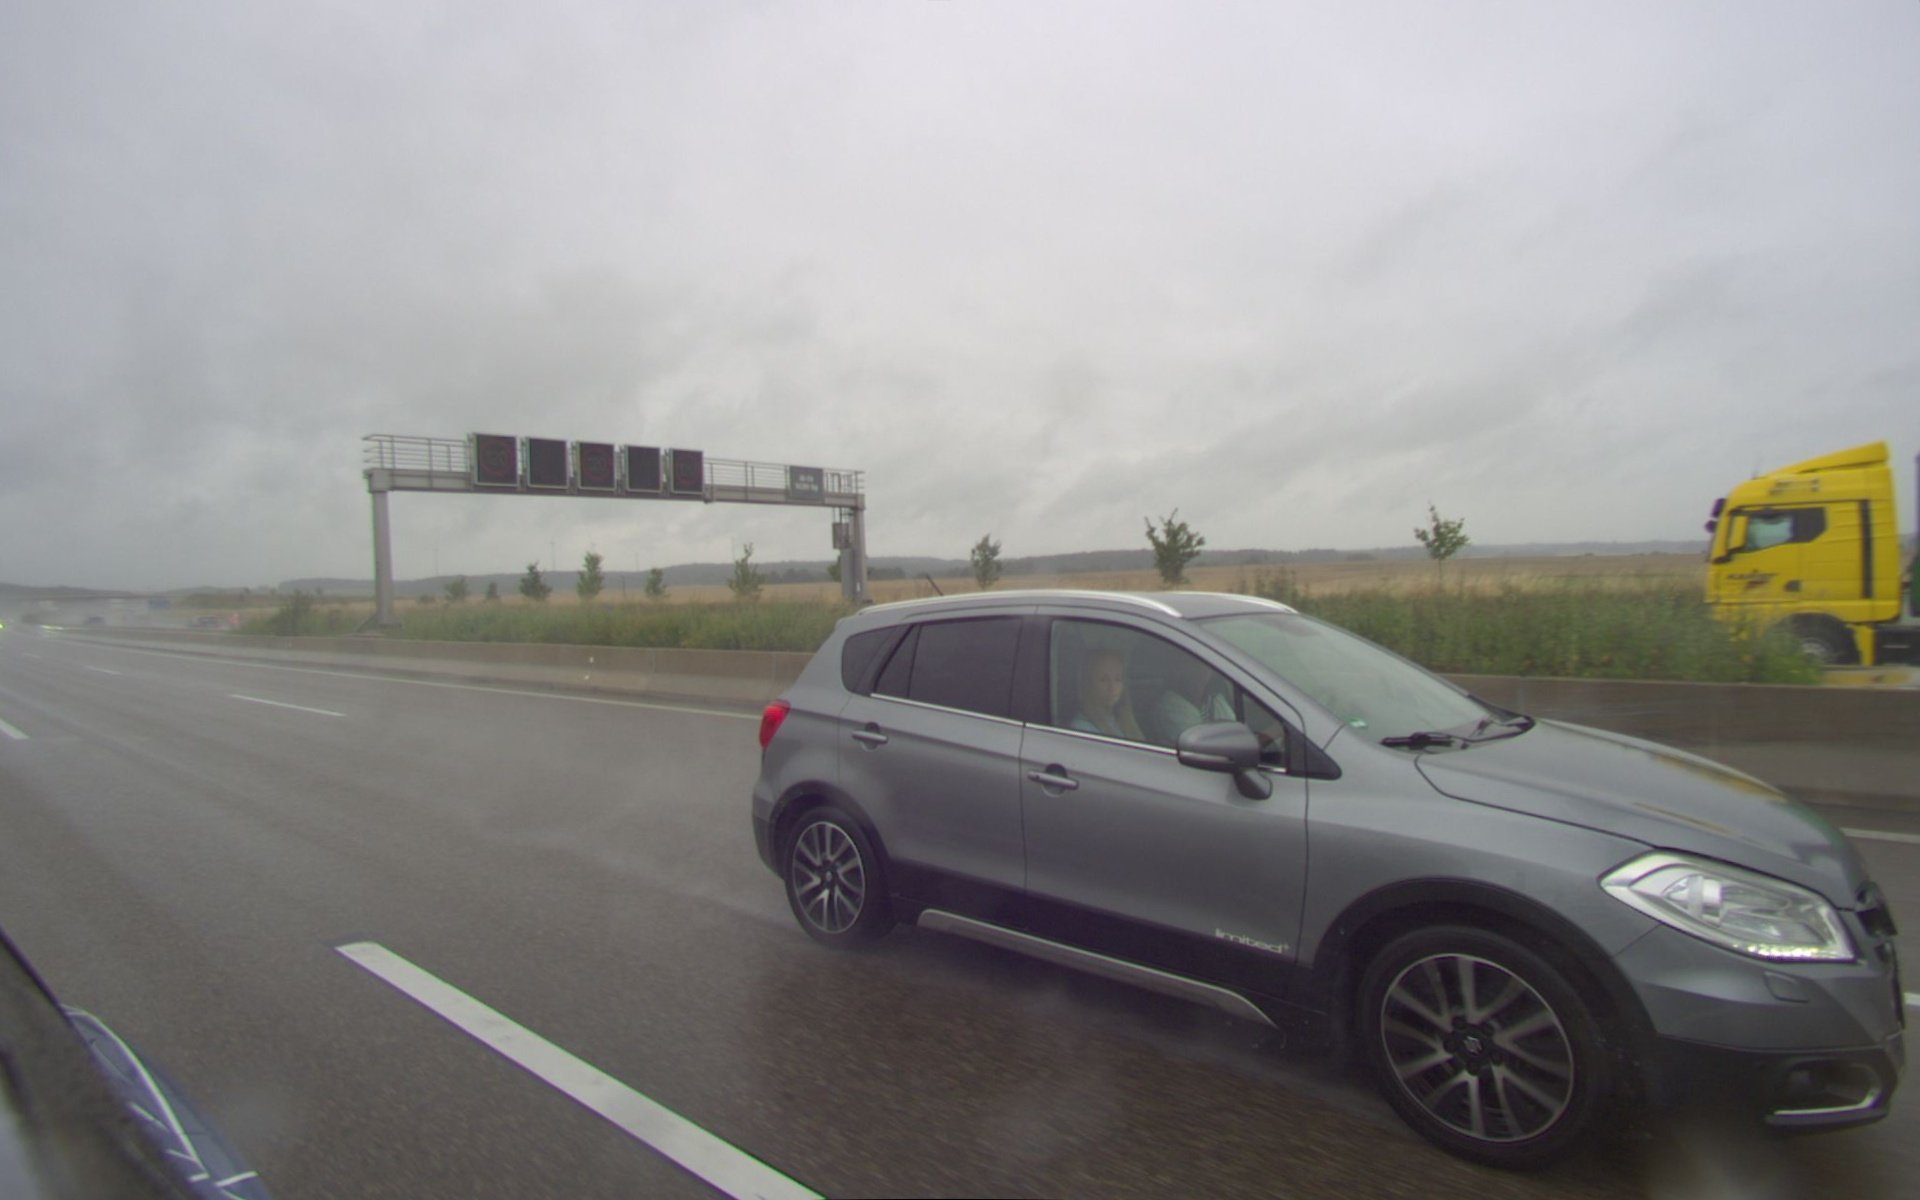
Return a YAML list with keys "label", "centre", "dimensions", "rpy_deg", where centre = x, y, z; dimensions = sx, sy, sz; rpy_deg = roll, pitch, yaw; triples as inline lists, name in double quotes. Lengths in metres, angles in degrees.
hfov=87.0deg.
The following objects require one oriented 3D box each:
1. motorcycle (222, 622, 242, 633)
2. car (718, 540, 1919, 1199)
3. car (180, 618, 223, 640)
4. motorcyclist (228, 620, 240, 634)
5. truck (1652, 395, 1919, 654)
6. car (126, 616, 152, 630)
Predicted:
- label: "motorcycle"
  centre: [-67.817, 2.556, 94.231]
  dimensions: [3.545, 0.920, 0.908]
  rpy_deg: [-1, -1, 44]
- label: "car"
  centre: [1.257, 0.662, 3.766]
  dimensions: [4.755, 1.524, 1.827]
  rpy_deg: [-1, 0, 42]
- label: "car"
  centre: [-61.485, 2.327, 81.985]
  dimensions: [4.443, 1.696, 1.972]
  rpy_deg: [-1, 0, 42]
- label: "motorcyclist"
  centre: [-67.167, 2.494, 93.581]
  dimensions: [0.940, 1.318, 0.741]
  rpy_deg: [-1, 0, 42]
- label: "truck"
  centre: [14.829, -1.165, 17.187]
  dimensions: [4.817, 4.021, 1.989]
  rpy_deg: [-1, -1, 41]
- label: "car"
  centre: [-88.778, 2.459, 109.402]
  dimensions: [4.001, 1.497, 1.676]
  rpy_deg: [-1, -1, 44]
